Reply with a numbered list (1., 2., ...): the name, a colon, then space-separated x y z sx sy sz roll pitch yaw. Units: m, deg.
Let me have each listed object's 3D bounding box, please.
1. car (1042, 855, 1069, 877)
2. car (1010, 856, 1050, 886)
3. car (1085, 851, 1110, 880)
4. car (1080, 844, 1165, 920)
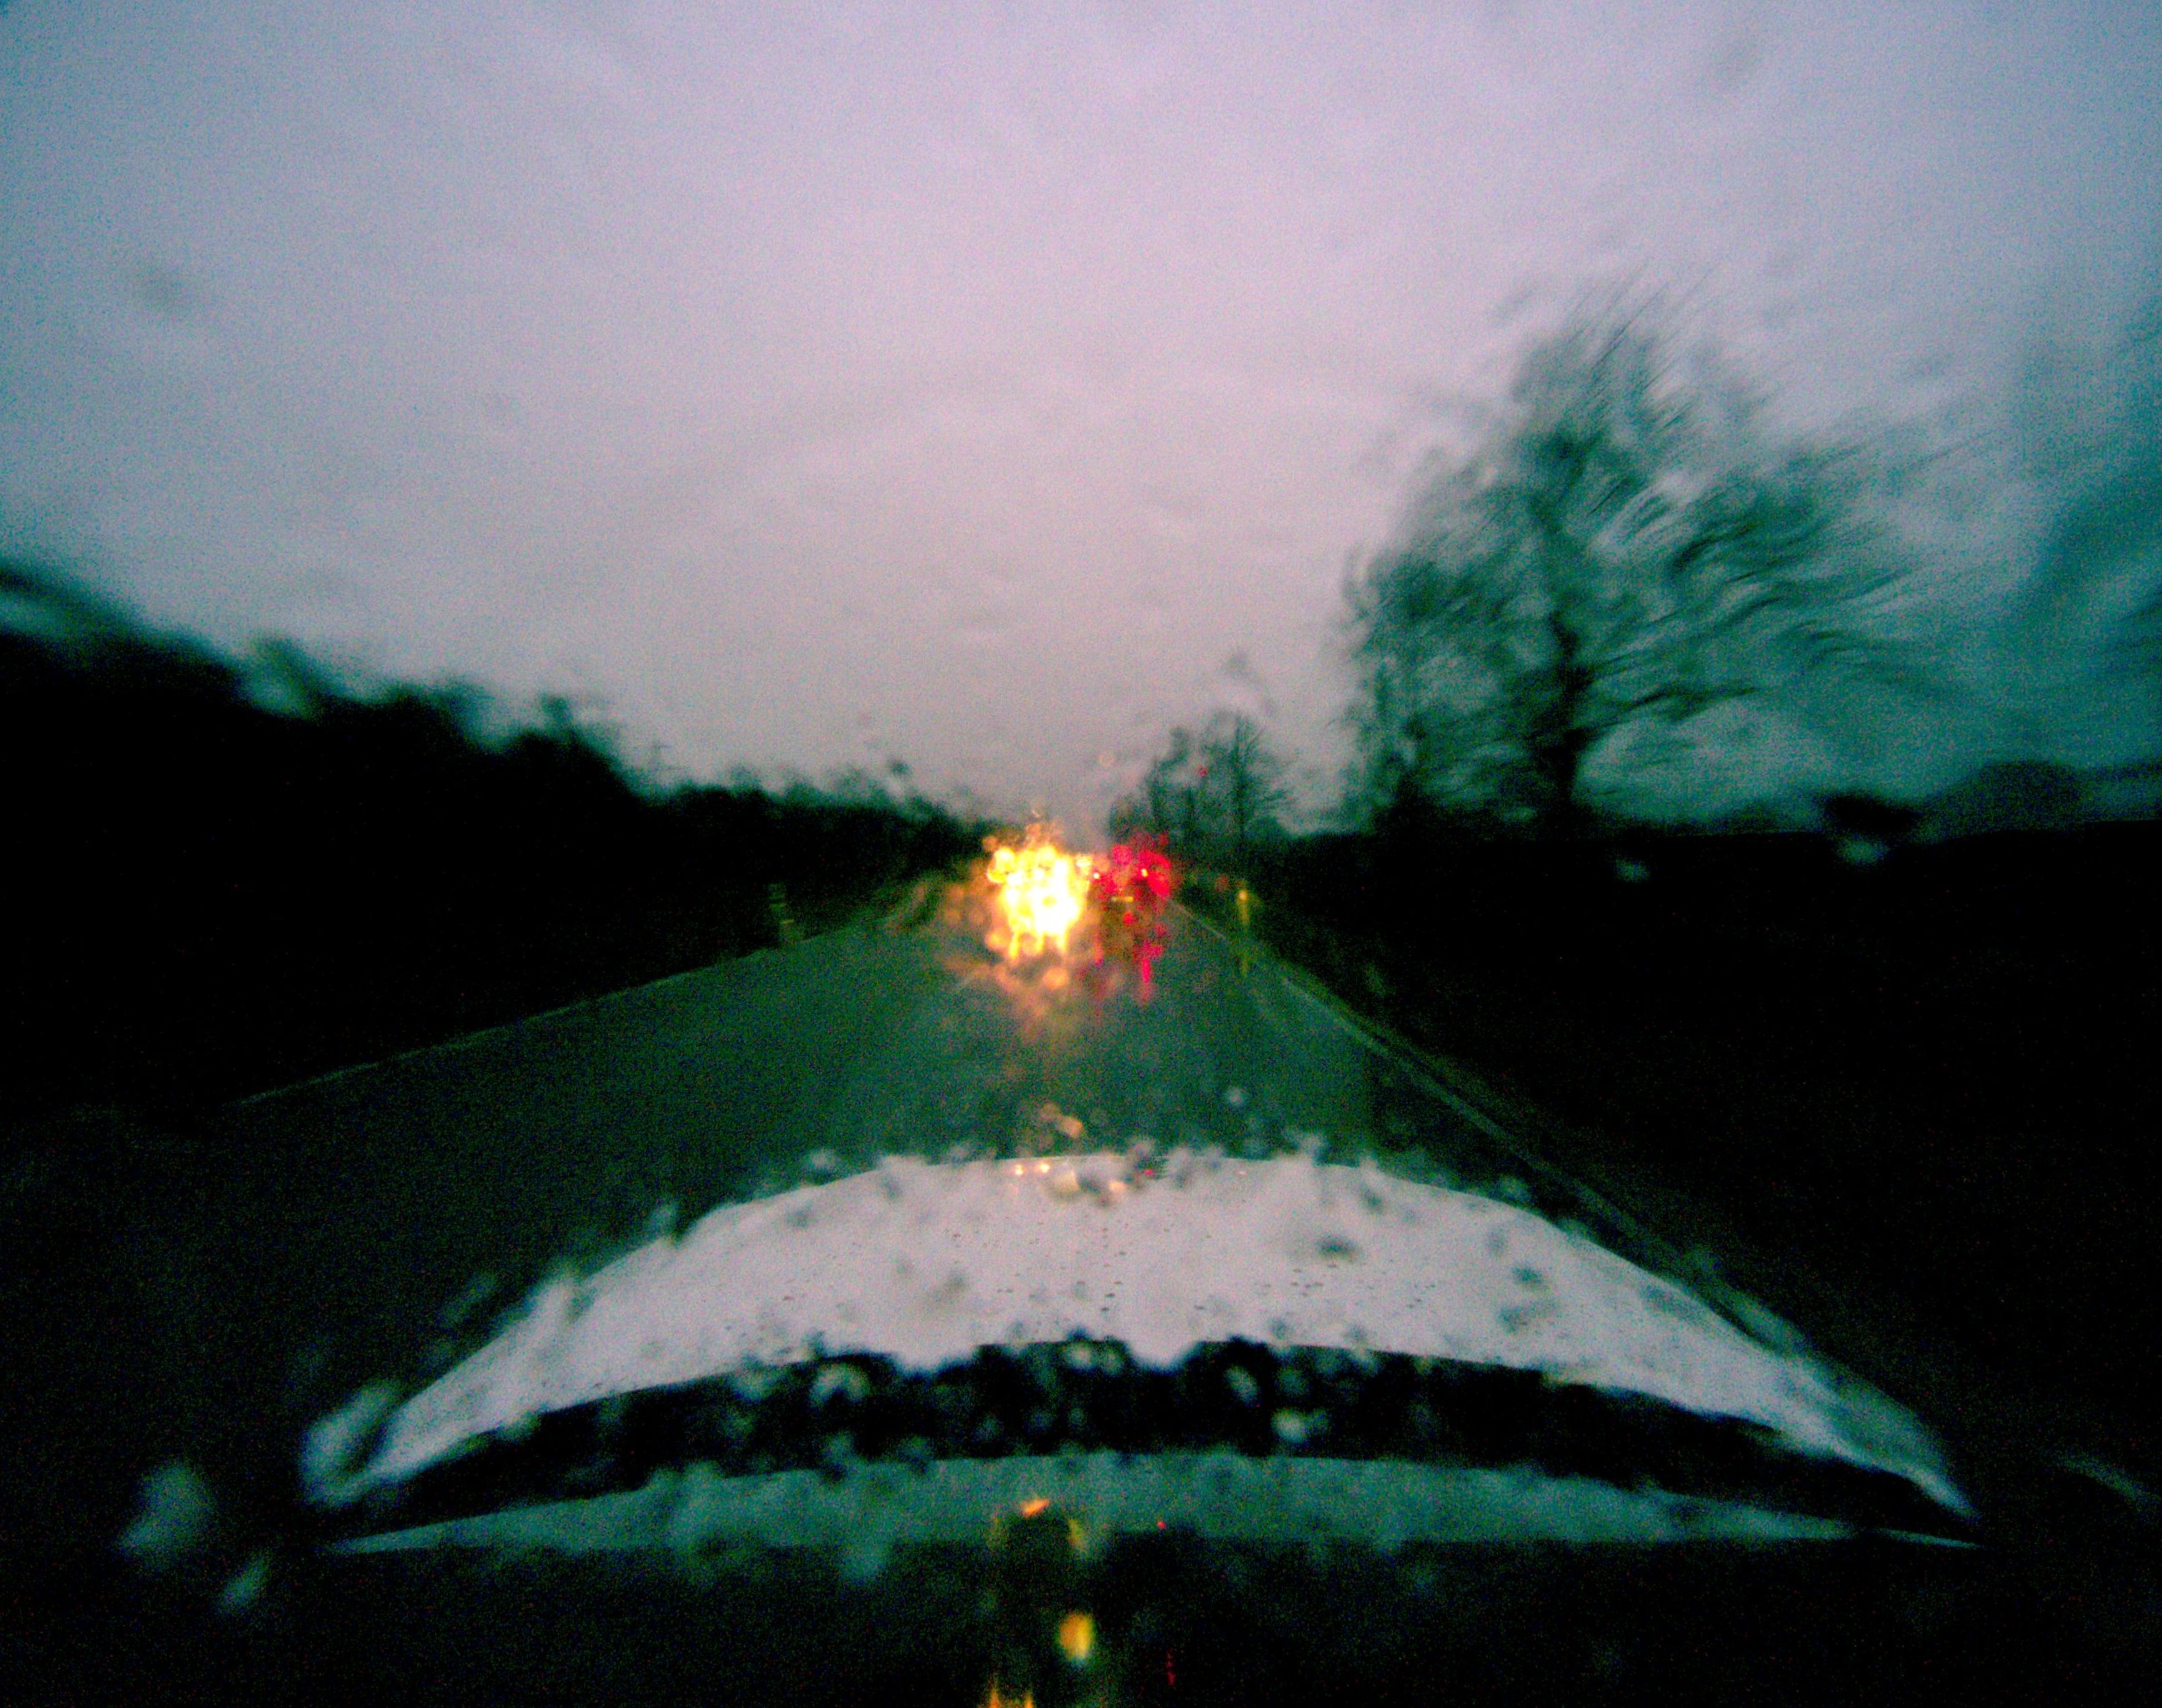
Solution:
1. car: -1.975 0.909 63.988 1.751 1.640 4.688 0 0 2
2. car: -2.657 0.875 43.511 1.819 1.498 4.095 -1 0 0
3. car: 1.136 0.737 54.530 1.568 1.875 3.712 0 0 3
4. car: 1.082 0.671 21.105 1.985 1.784 4.003 0 0 3
